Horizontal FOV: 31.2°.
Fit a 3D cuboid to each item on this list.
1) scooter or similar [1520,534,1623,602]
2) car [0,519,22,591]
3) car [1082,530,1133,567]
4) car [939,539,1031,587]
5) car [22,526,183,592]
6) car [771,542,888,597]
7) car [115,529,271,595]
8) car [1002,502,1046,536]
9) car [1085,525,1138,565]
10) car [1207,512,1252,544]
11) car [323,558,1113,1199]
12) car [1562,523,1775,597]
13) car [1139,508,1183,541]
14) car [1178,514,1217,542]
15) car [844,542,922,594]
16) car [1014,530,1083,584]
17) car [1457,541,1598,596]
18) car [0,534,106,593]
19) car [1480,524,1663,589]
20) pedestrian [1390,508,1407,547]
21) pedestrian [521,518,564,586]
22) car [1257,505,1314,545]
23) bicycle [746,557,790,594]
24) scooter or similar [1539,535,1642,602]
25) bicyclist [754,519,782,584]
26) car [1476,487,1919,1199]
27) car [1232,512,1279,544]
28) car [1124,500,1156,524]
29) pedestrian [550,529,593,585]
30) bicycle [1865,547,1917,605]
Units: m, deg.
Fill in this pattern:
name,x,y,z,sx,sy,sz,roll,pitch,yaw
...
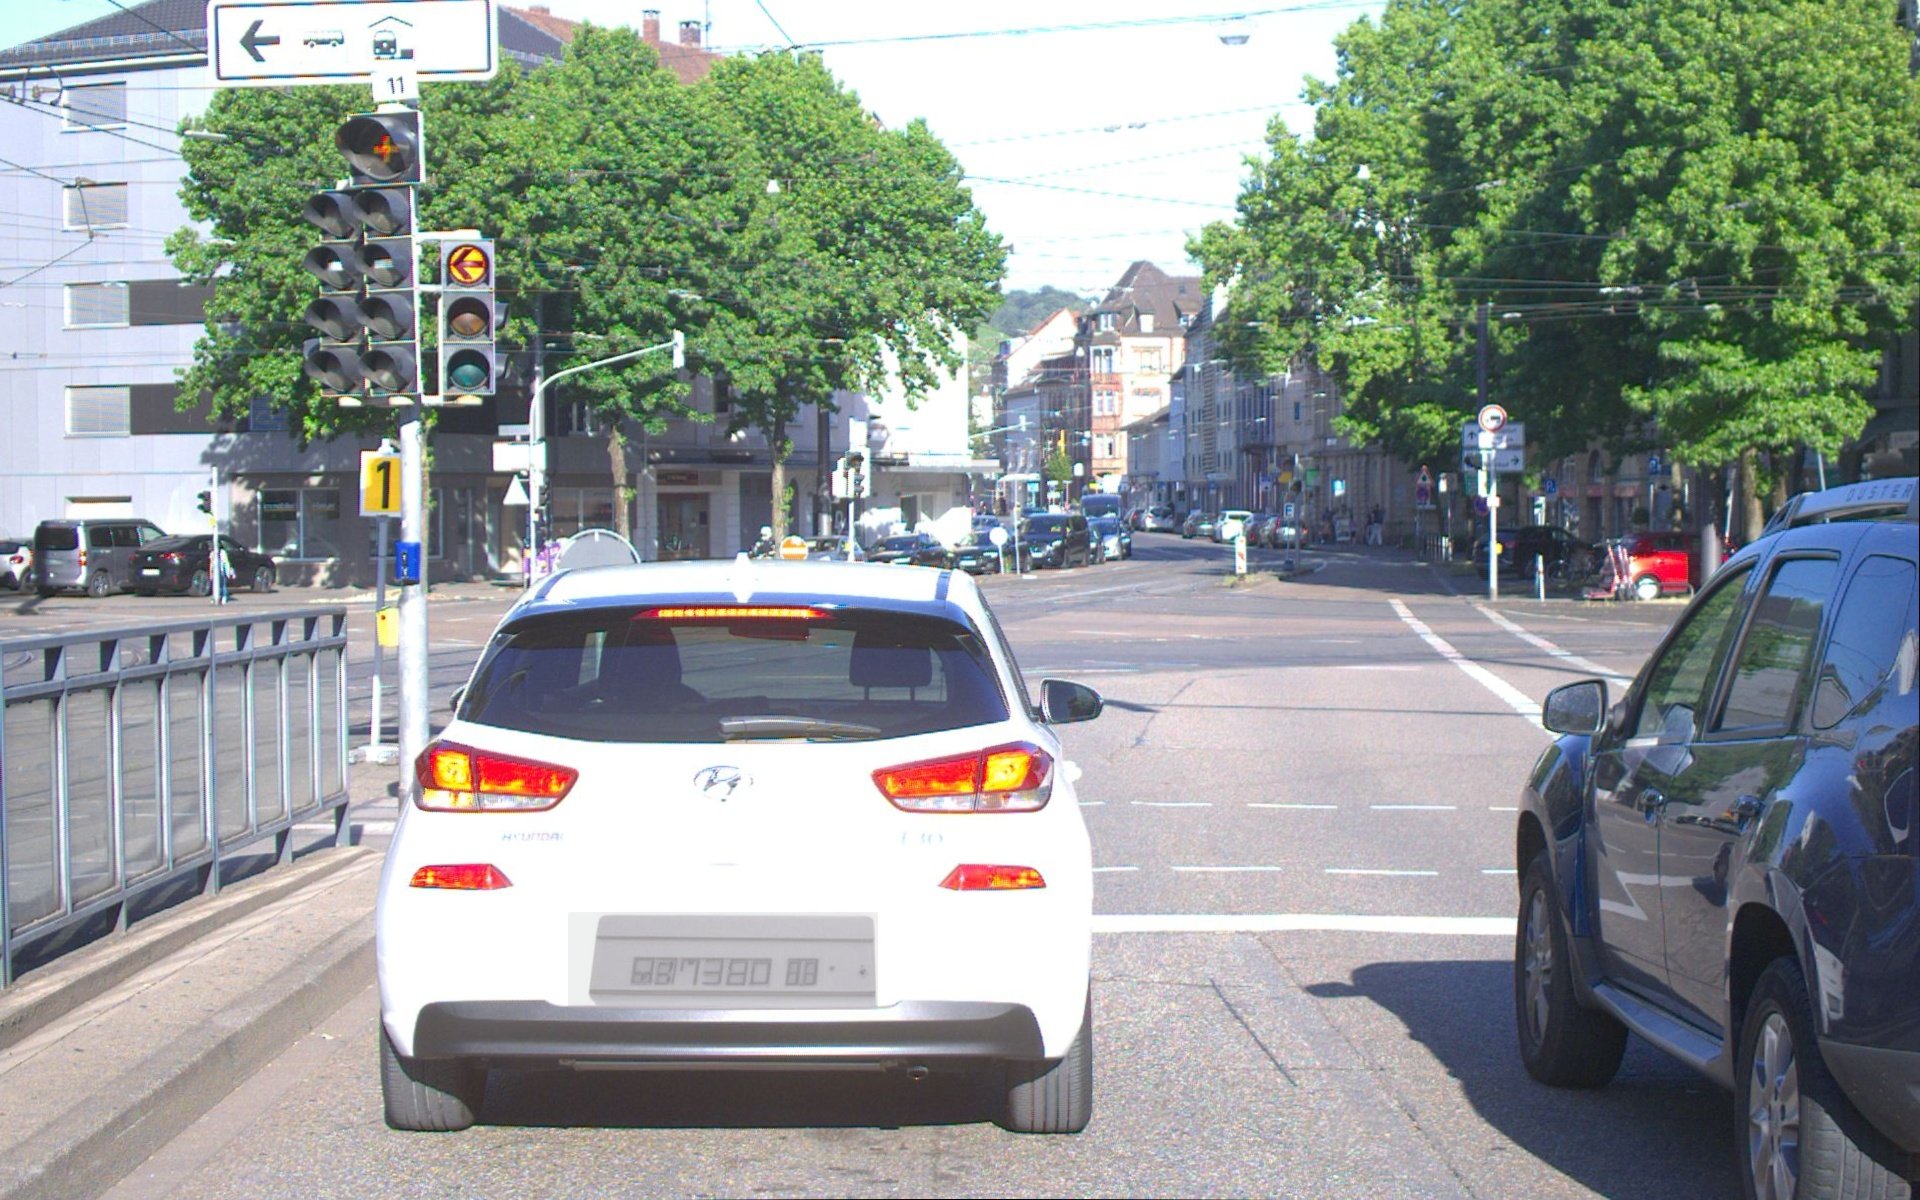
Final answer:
name,x,y,z,sx,sy,sz,roll,pitch,yaw
scooter or similar,11.730,-0.623,65.956,1.949,1.276,0.552,1,1,41
car,-26.891,-1.193,91.467,1.796,1.949,3.997,0,1,18
car,6.026,-2.115,140.718,1.794,1.505,4.000,0,1,-2
car,0.837,-1.182,110.697,1.796,1.505,3.996,0,0,19
car,-22.043,-1.069,88.504,1.797,1.643,4.004,0,1,29
car,-3.638,-0.859,96.659,1.726,1.505,3.871,0,0,25
car,-19.558,-0.989,87.834,1.923,1.643,4.176,0,1,20
car,2.900,-3.648,155.625,1.794,1.505,4.000,0,1,-2
car,5.832,-2.118,132.725,1.794,1.505,4.000,0,1,-2
car,13.087,-3.502,167.014,1.794,1.505,4.000,0,1,-1
car,-0.592,0.621,9.934,1.808,1.447,4.000,1,1,-1
car,14.797,-0.849,71.910,3.986,1.505,1.801,0,1,-9
car,12.335,-4.614,211.266,2.327,2.007,4.977,0,1,-1
car,12.848,-3.885,186.251,1.794,1.517,4.000,0,1,-1
car,-2.282,-0.951,102.646,1.794,1.505,3.999,0,0,7
car,3.065,-1.477,118.122,1.795,1.820,3.998,0,1,10
car,15.955,-0.910,96.543,3.989,1.505,1.799,-1,1,-42
car,-24.401,-0.974,90.570,1.796,1.505,4.006,0,1,18
car,14.623,-1.050,82.330,3.986,1.505,1.800,0,1,-6
pedestrian,18.621,-3.064,145.934,0.648,1.645,0.650,1,0,10
pedestrian,-10.881,-1.254,89.613,0.837,1.765,0.781,0,1,25
car,14.576,-3.377,154.322,2.105,1.770,4.342,0,1,-1
bicycle,-5.148,-0.662,92.292,0.468,0.953,1.765,0,1,23
scooter or similar,12.191,-0.618,66.505,1.949,1.276,0.552,1,1,41
bicyclist,-5.148,-1.306,92.284,0.468,1.739,0.716,0,1,23
car,2.453,0.581,8.073,1.800,1.632,4.045,0,1,-1
car,13.819,-3.367,160.853,1.794,1.505,4.000,0,1,-1
car,11.337,-5.549,216.722,1.794,1.505,4.000,0,1,-1
pedestrian,-10.335,-1.156,91.431,0.803,1.479,0.861,0,1,26
bicycle,17.837,-0.469,65.888,0.609,1.104,1.800,0,1,4
